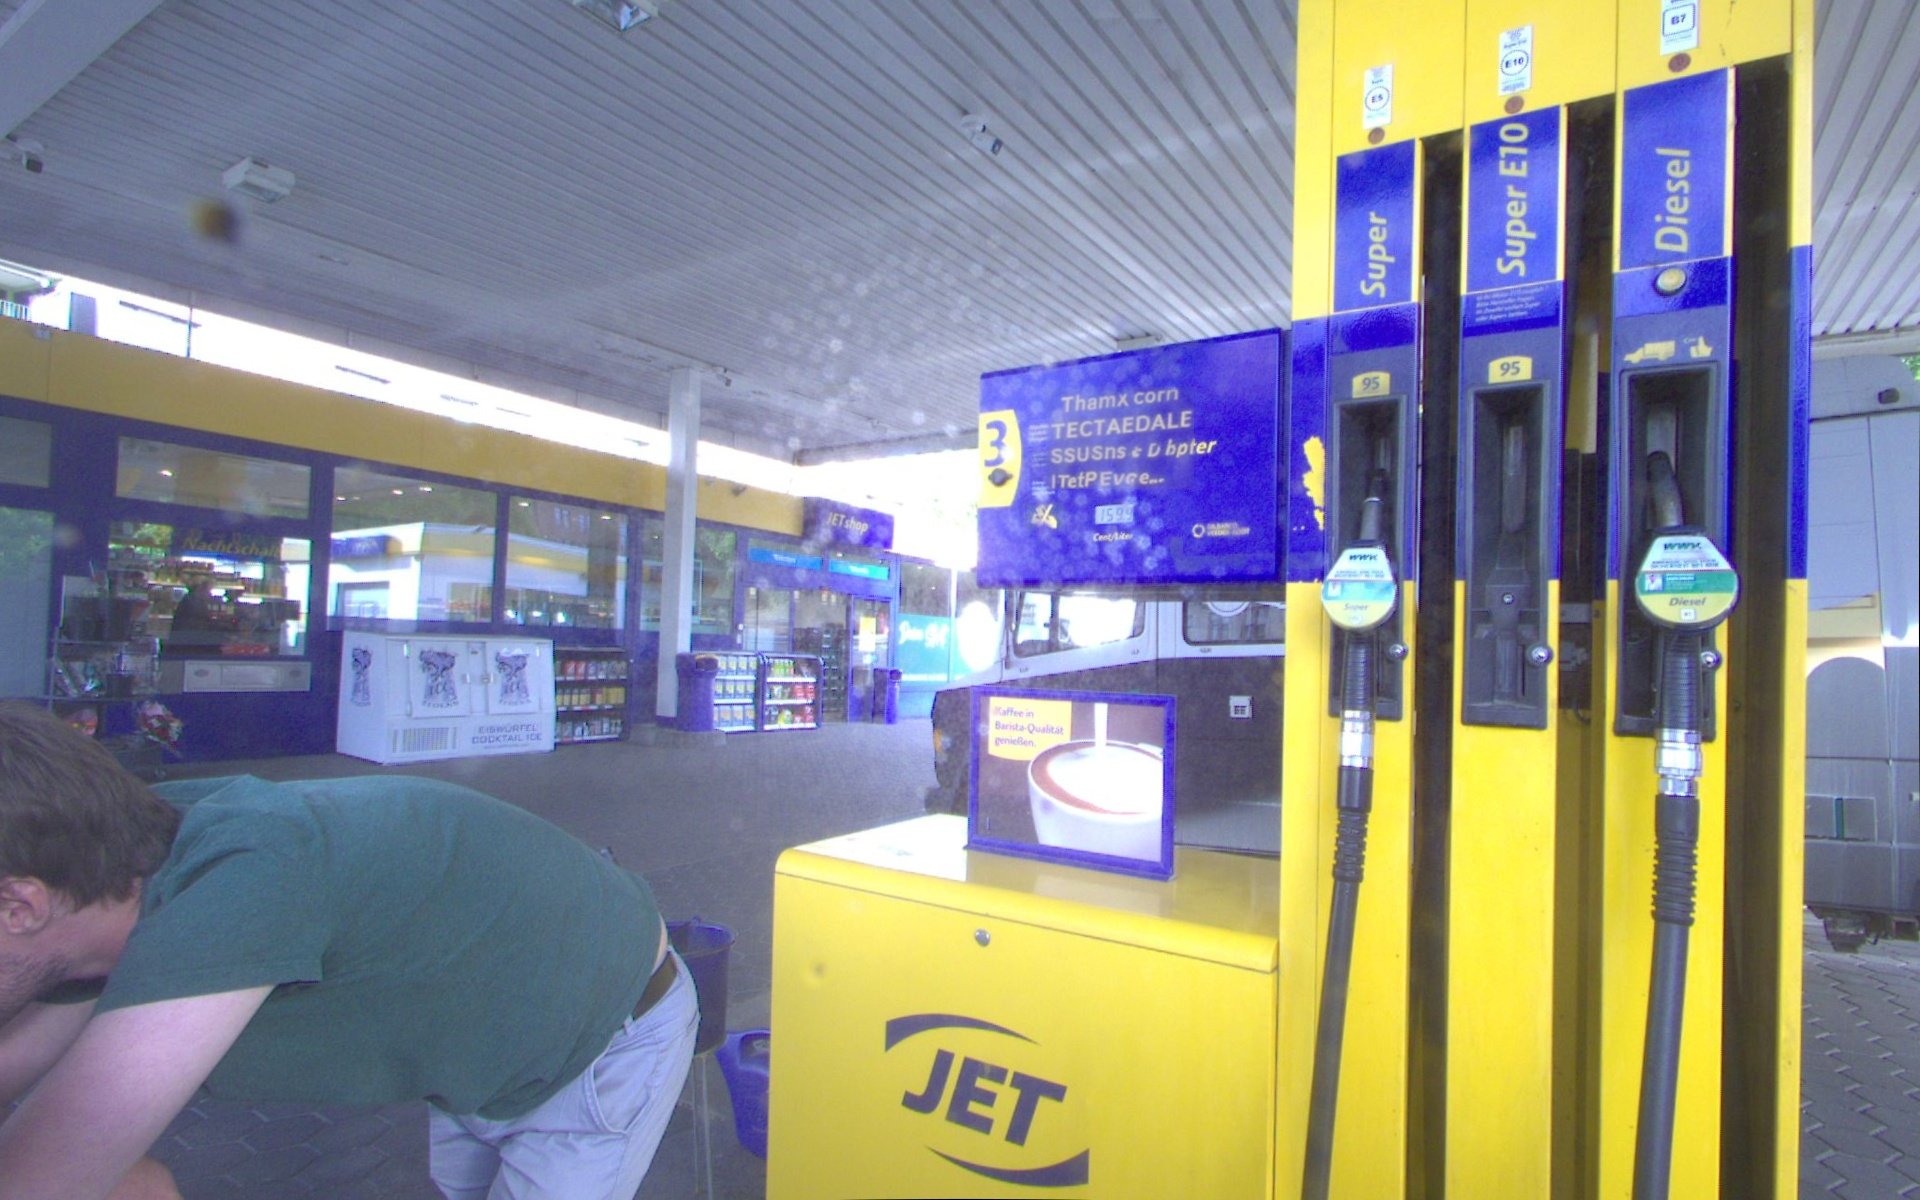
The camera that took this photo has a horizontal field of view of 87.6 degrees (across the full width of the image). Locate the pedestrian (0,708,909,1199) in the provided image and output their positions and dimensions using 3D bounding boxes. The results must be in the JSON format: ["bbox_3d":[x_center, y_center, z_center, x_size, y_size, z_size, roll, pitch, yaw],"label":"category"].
[{"bbox_3d":[-0.536,0.802,1.080,0.664,1.298,0.749,-1,-1,31],"label":"pedestrian"}]

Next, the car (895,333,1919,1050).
[{"bbox_3d":[2.387,0.406,6.025,5.219,2.724,2.250,0,-3,34],"label":"car"}]
